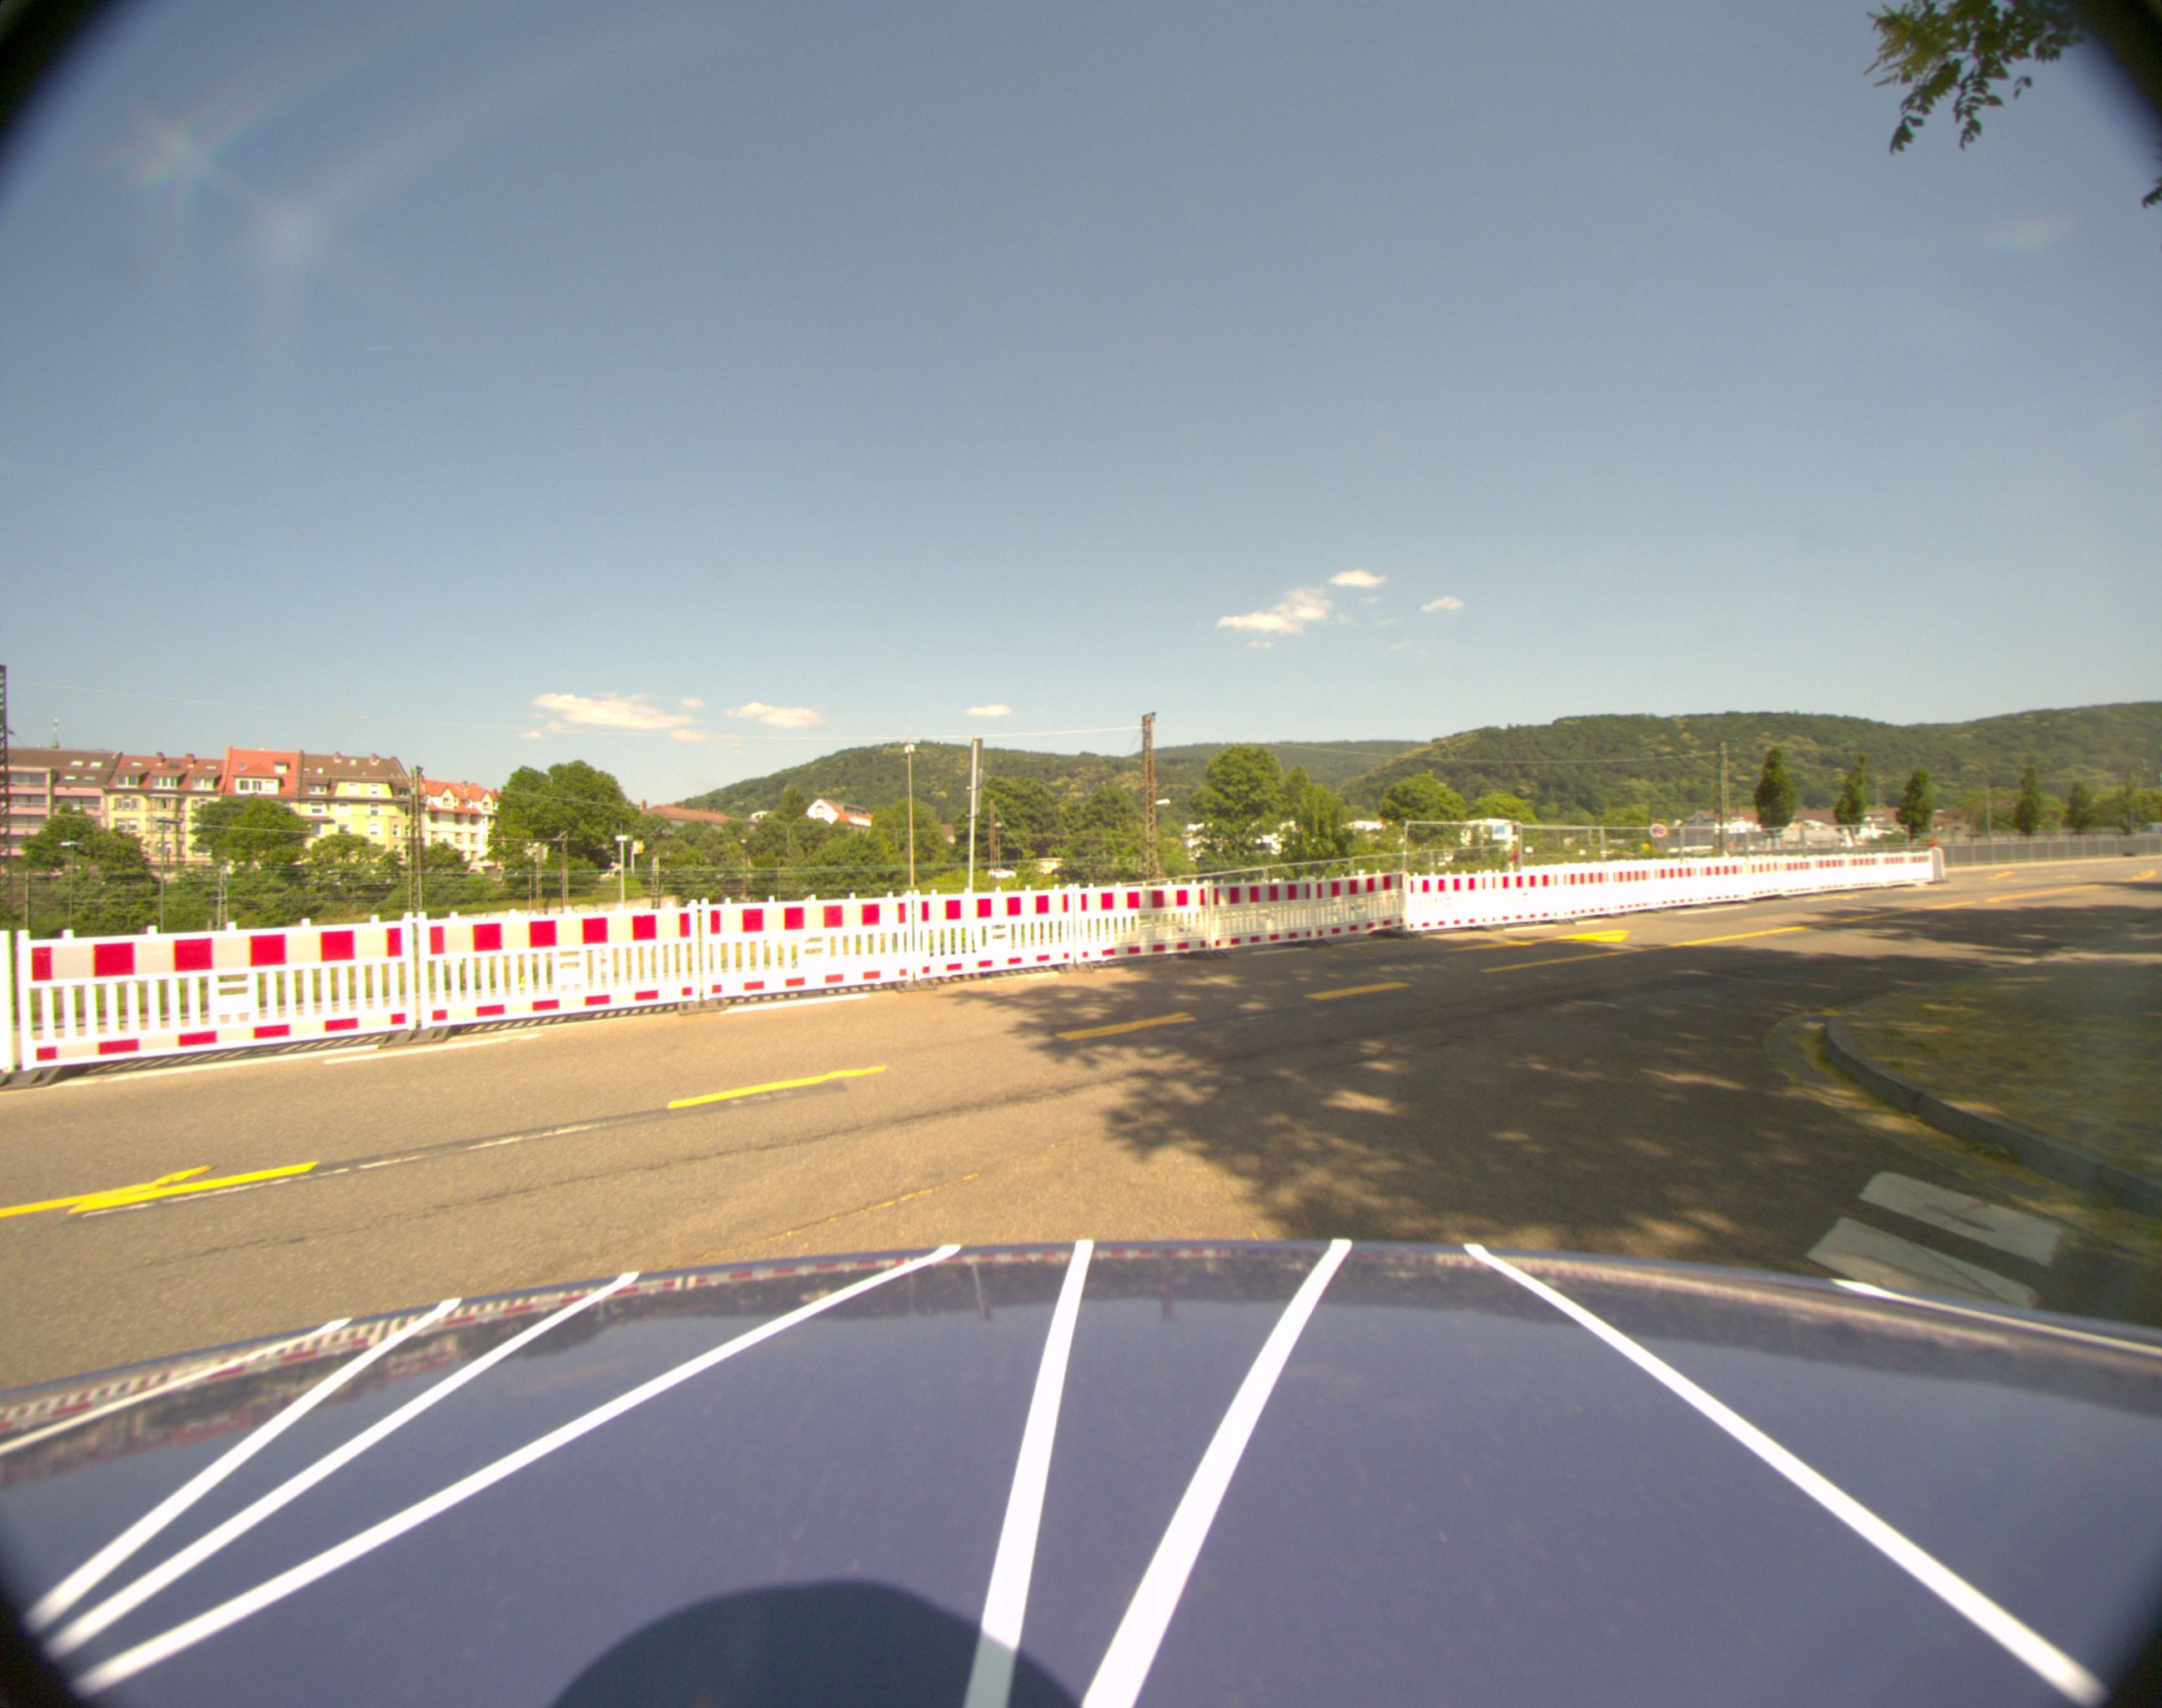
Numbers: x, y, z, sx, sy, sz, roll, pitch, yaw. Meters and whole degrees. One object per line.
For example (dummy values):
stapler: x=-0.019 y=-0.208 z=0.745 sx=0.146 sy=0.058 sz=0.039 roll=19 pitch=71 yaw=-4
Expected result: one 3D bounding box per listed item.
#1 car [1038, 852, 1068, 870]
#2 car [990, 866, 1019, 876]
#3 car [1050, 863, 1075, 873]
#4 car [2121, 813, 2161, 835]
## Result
car: x=-4.531 y=1.106 z=122.875 sx=4.638 sy=2.835 sz=1.865 roll=-2 pitch=0 yaw=-4
car: x=-12.124 y=2.664 z=120.541 sx=4.311 sy=1.359 sz=1.867 roll=-2 pitch=0 yaw=5
car: x=-2.936 y=2.242 z=119.754 sx=3.839 sy=1.359 sz=1.783 roll=-2 pitch=0 yaw=1
car: x=124.978 y=-3.559 z=87.661 sx=2.311 sy=2.330 sz=5.630 roll=-4 pitch=-2 yaw=3
